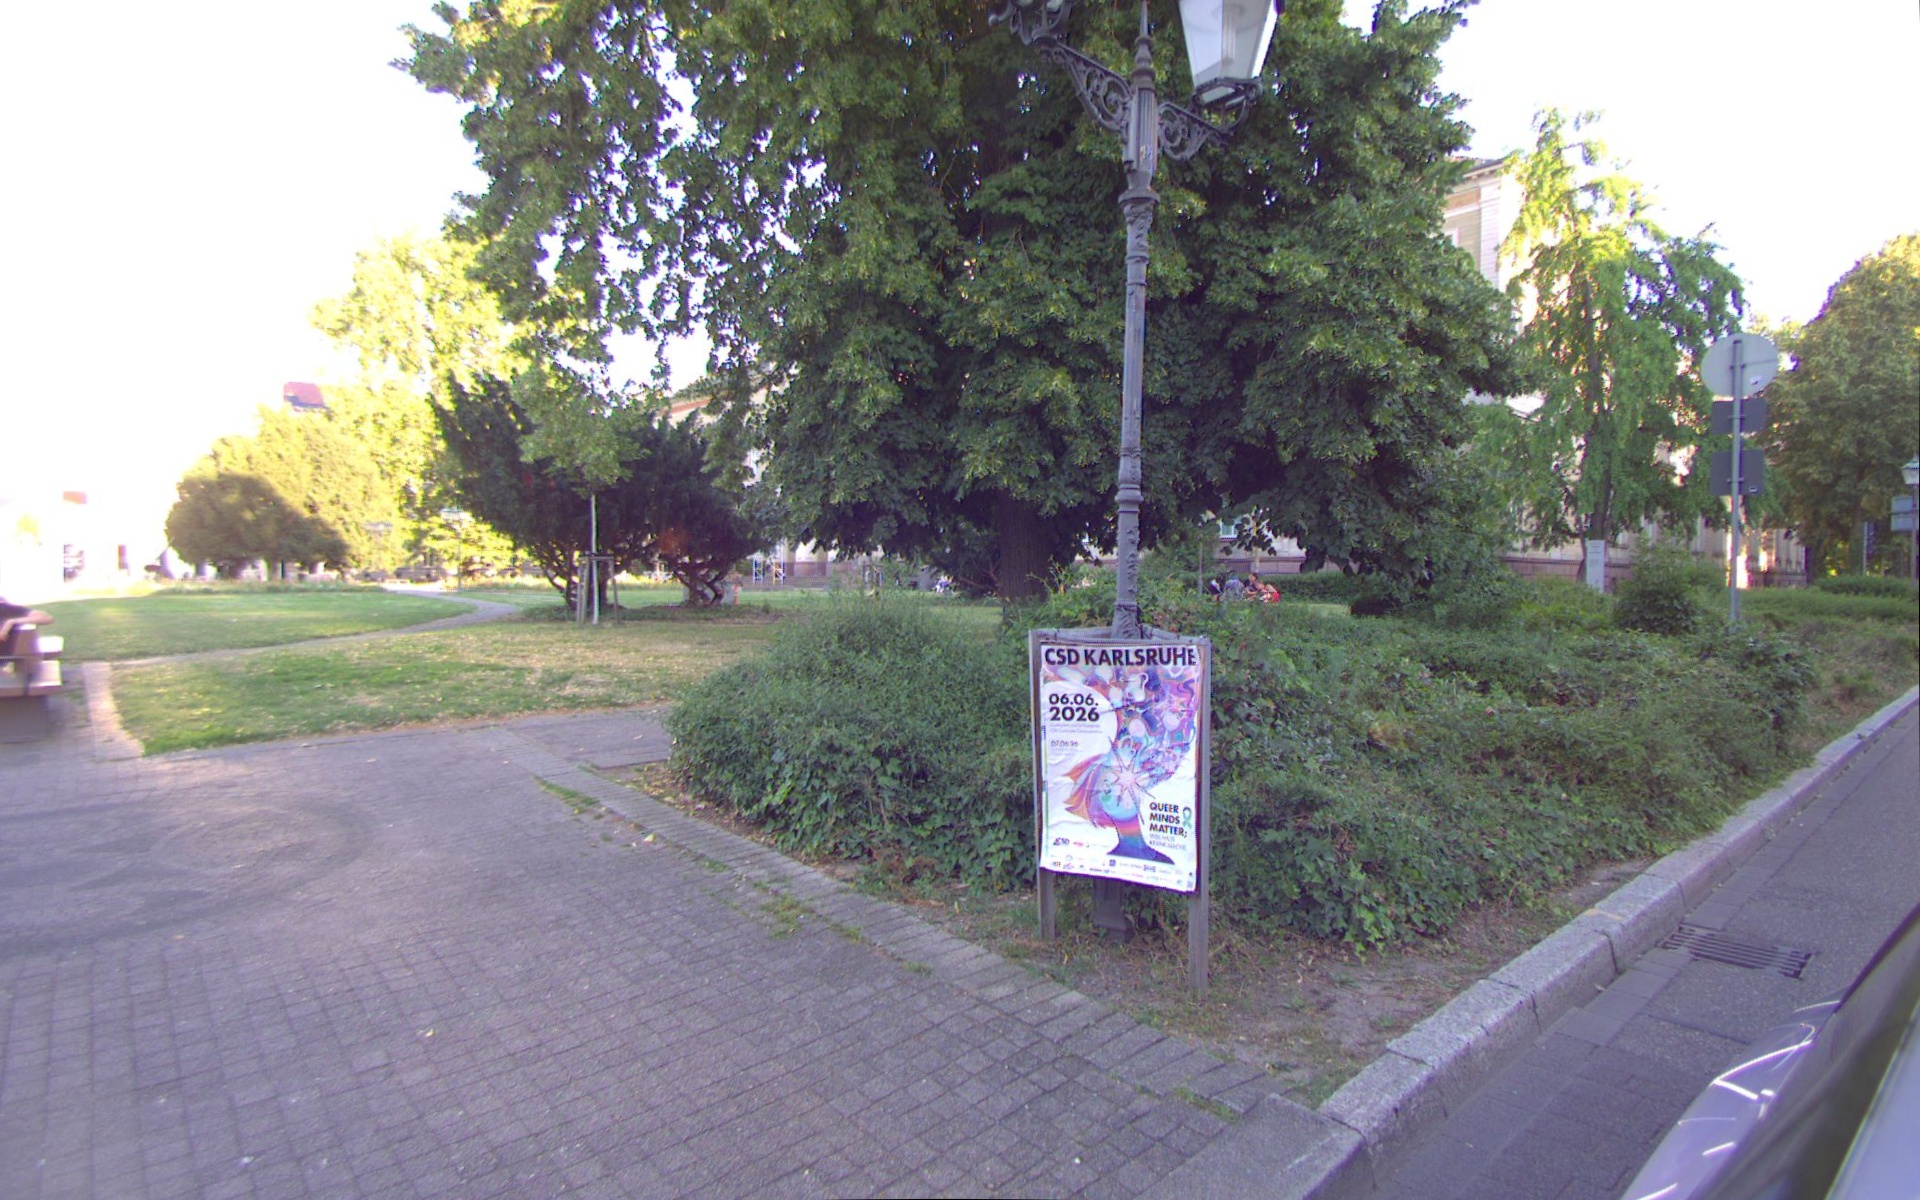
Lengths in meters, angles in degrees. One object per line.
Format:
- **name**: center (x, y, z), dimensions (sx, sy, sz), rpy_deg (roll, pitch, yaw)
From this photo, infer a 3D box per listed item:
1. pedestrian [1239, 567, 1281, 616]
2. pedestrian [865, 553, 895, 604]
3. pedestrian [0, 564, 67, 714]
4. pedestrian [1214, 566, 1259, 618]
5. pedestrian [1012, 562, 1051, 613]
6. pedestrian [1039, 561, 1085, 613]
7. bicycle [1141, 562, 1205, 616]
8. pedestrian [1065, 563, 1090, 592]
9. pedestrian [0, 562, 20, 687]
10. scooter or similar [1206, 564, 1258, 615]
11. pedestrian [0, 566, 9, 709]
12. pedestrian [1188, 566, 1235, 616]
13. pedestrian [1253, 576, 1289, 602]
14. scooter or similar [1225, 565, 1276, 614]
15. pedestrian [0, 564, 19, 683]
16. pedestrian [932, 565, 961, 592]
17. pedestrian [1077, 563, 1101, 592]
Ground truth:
- **pedestrian**: center (7.547, -0.221, 25.480), dimensions (0.778, 1.206, 0.666), rpy_deg (0, 2, -13)
- **pedestrian**: center (-2.836, -0.762, 35.747), dimensions (0.746, 1.769, 0.771), rpy_deg (-1, 2, -44)
- **pedestrian**: center (-8.339, 0.323, 8.668), dimensions (0.675, 1.253, 0.813), rpy_deg (1, 1, 19)
- **pedestrian**: center (6.676, -0.202, 24.436), dimensions (0.733, 1.206, 0.724), rpy_deg (-1, 2, -38)
- **pedestrian**: center (1.933, -0.346, 27.424), dimensions (0.756, 1.364, 0.779), rpy_deg (2, 2, 33)
- **pedestrian**: center (2.722, -0.359, 27.045), dimensions (0.913, 1.364, 0.874), rpy_deg (2, 2, 34)
- **bicycle**: center (5.475, -0.295, 25.959), dimensions (0.619, 1.316, 1.987), rpy_deg (2, 2, 44)
- **pedestrian**: center (5.929, -1.146, 50.980), dimensions (1.026, 1.414, 0.695), rpy_deg (-1, 2, -41)
- **pedestrian**: center (-10.865, 0.267, 11.079), dimensions (0.596, 1.358, 0.806), rpy_deg (2, 2, 43)
- **scooter or similar**: center (7.008, -0.286, 26.091), dimensions (1.212, 1.261, 0.413), rpy_deg (2, 2, 34)
- **pedestrian**: center (-8.978, 0.341, 8.790), dimensions (0.590, 1.277, 0.868), rpy_deg (1, 1, 18)
- **pedestrian**: center (6.233, -0.238, 25.084), dimensions (0.775, 1.206, 0.809), rpy_deg (-1, 2, -38)
- **pedestrian**: center (7.555, -0.286, 24.590), dimensions (0.537, 0.556, 1.364), rpy_deg (5, 4, 29)
- **scooter or similar**: center (7.563, -0.286, 26.373), dimensions (1.213, 1.261, 0.413), rpy_deg (2, 2, 37)
- **pedestrian**: center (-11.321, 0.267, 11.554), dimensions (0.596, 1.358, 0.806), rpy_deg (2, 2, 43)
- **pedestrian**: center (-0.782, -1.254, 58.678), dimensions (1.540, 1.575, 0.801), rpy_deg (-1, 2, -41)
- **pedestrian**: center (6.398, -1.141, 50.216), dimensions (1.026, 1.414, 0.695), rpy_deg (-1, 2, -41)
